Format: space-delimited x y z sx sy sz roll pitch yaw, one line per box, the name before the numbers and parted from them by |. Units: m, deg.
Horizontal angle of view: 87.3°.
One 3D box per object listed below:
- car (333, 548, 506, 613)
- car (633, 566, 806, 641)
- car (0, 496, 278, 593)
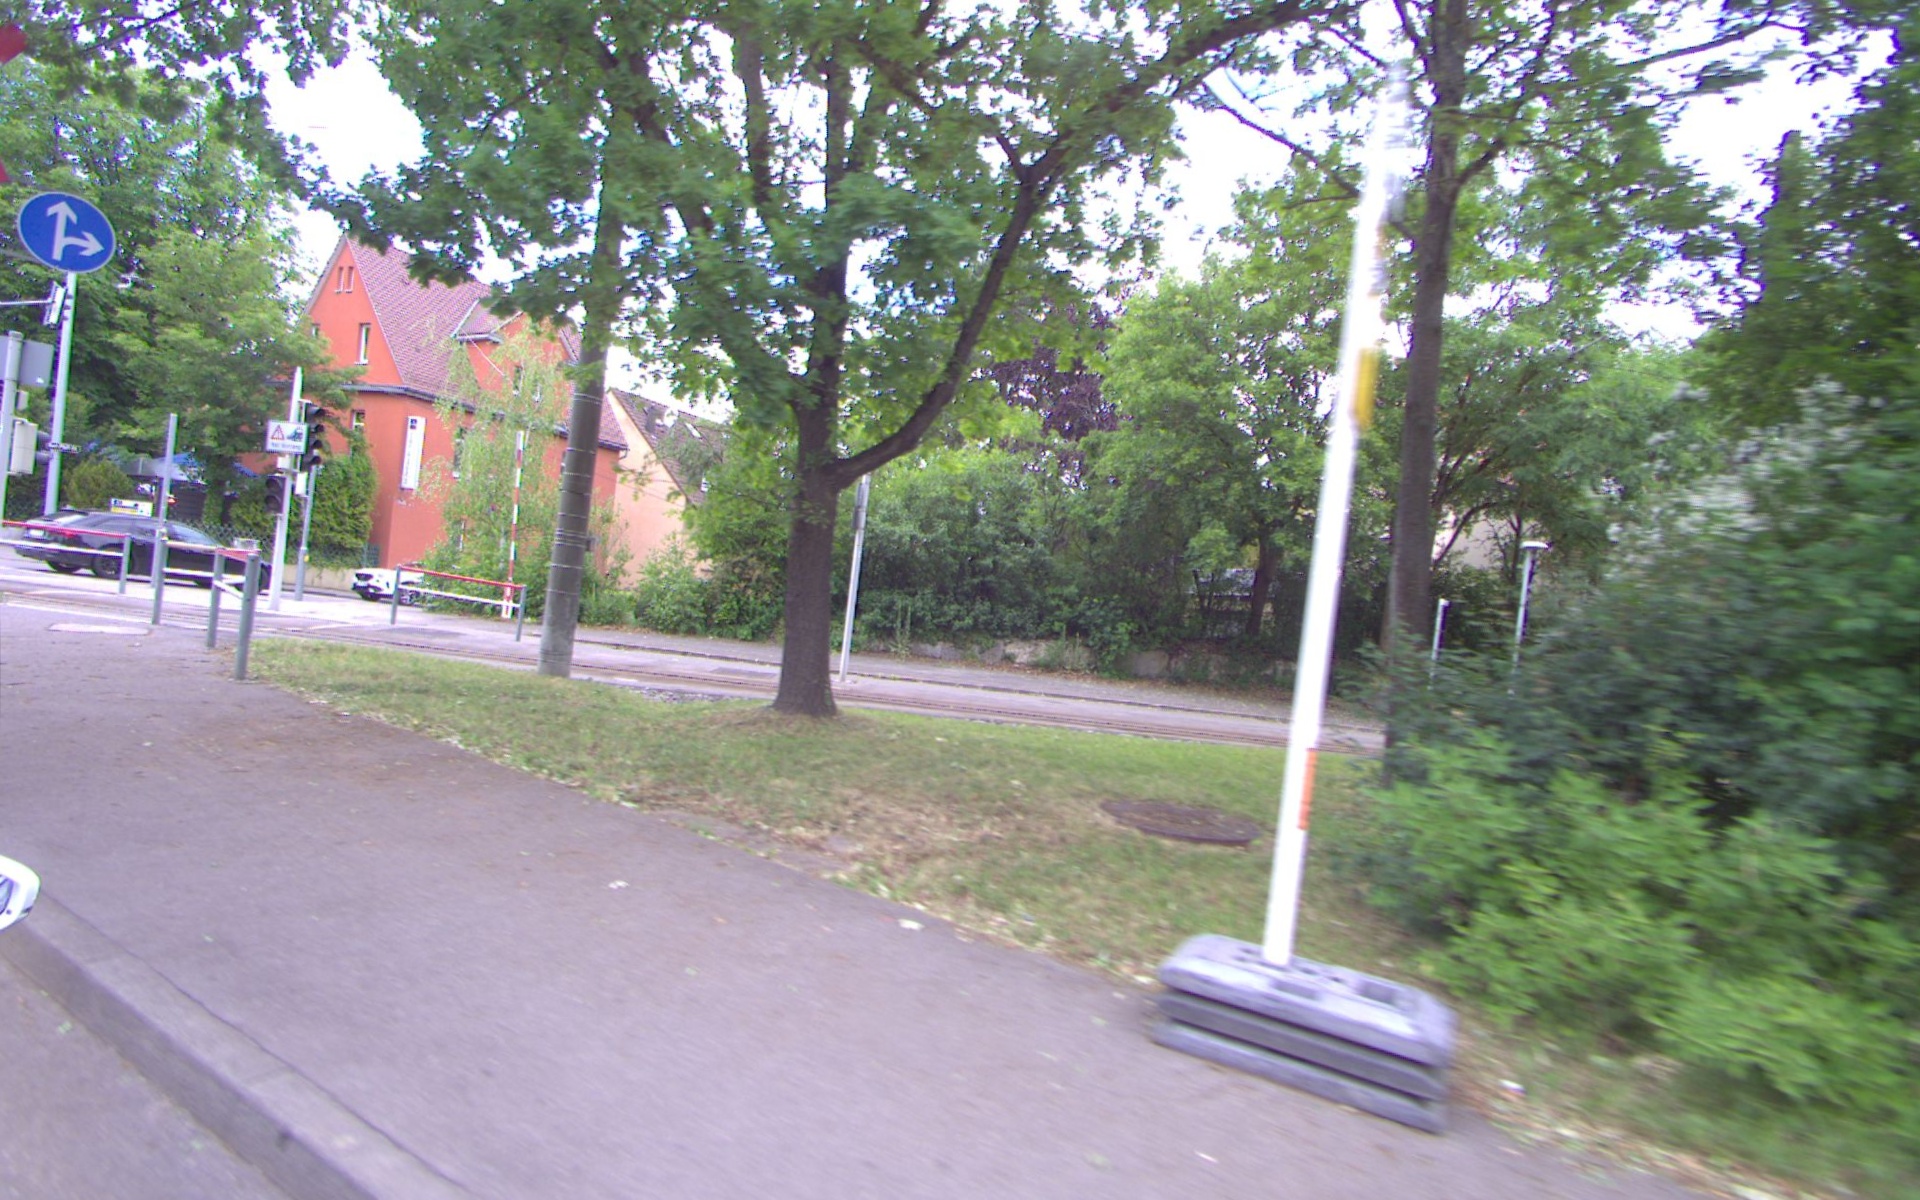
car | -16.939 -0.561 31.807 1.963 1.480 4.520 7 -1 21
car | -6.296 0.147 26.899 1.965 1.480 4.516 7 -1 26
car | -18.316 -1.169 22.625 1.963 1.480 4.520 7 -1 21
